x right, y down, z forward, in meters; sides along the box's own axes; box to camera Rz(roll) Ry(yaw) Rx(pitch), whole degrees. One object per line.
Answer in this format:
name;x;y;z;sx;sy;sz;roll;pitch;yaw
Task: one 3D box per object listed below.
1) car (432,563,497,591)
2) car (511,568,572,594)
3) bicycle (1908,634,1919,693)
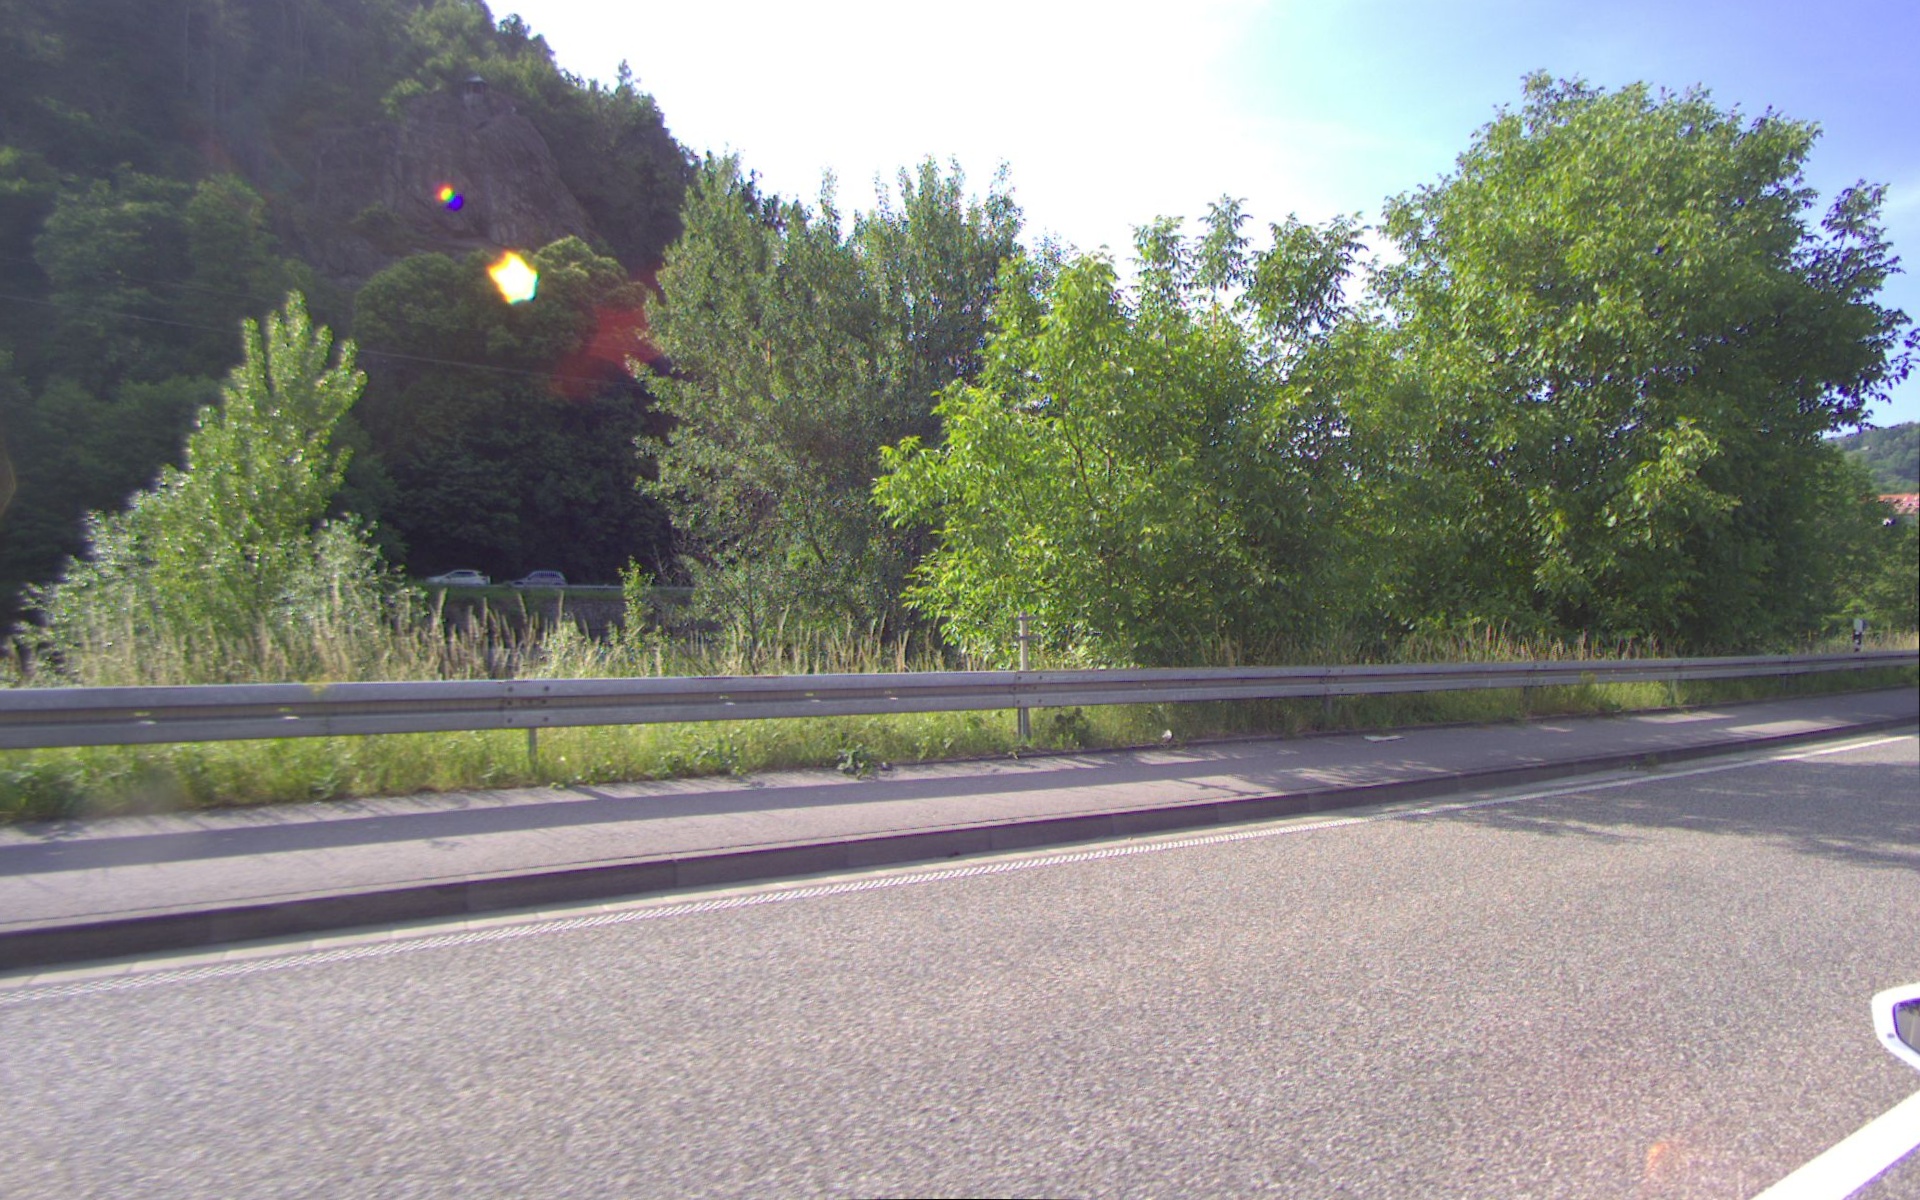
car;-35.851;-1.628;72.699;3.959;1.756;1.858;2;4;-34
car;-31.526;-1.452;75.725;3.959;1.688;1.858;2;4;-34
bicycle;18.633;1.188;18.879;2.204;1.060;0.554;1;4;-31
